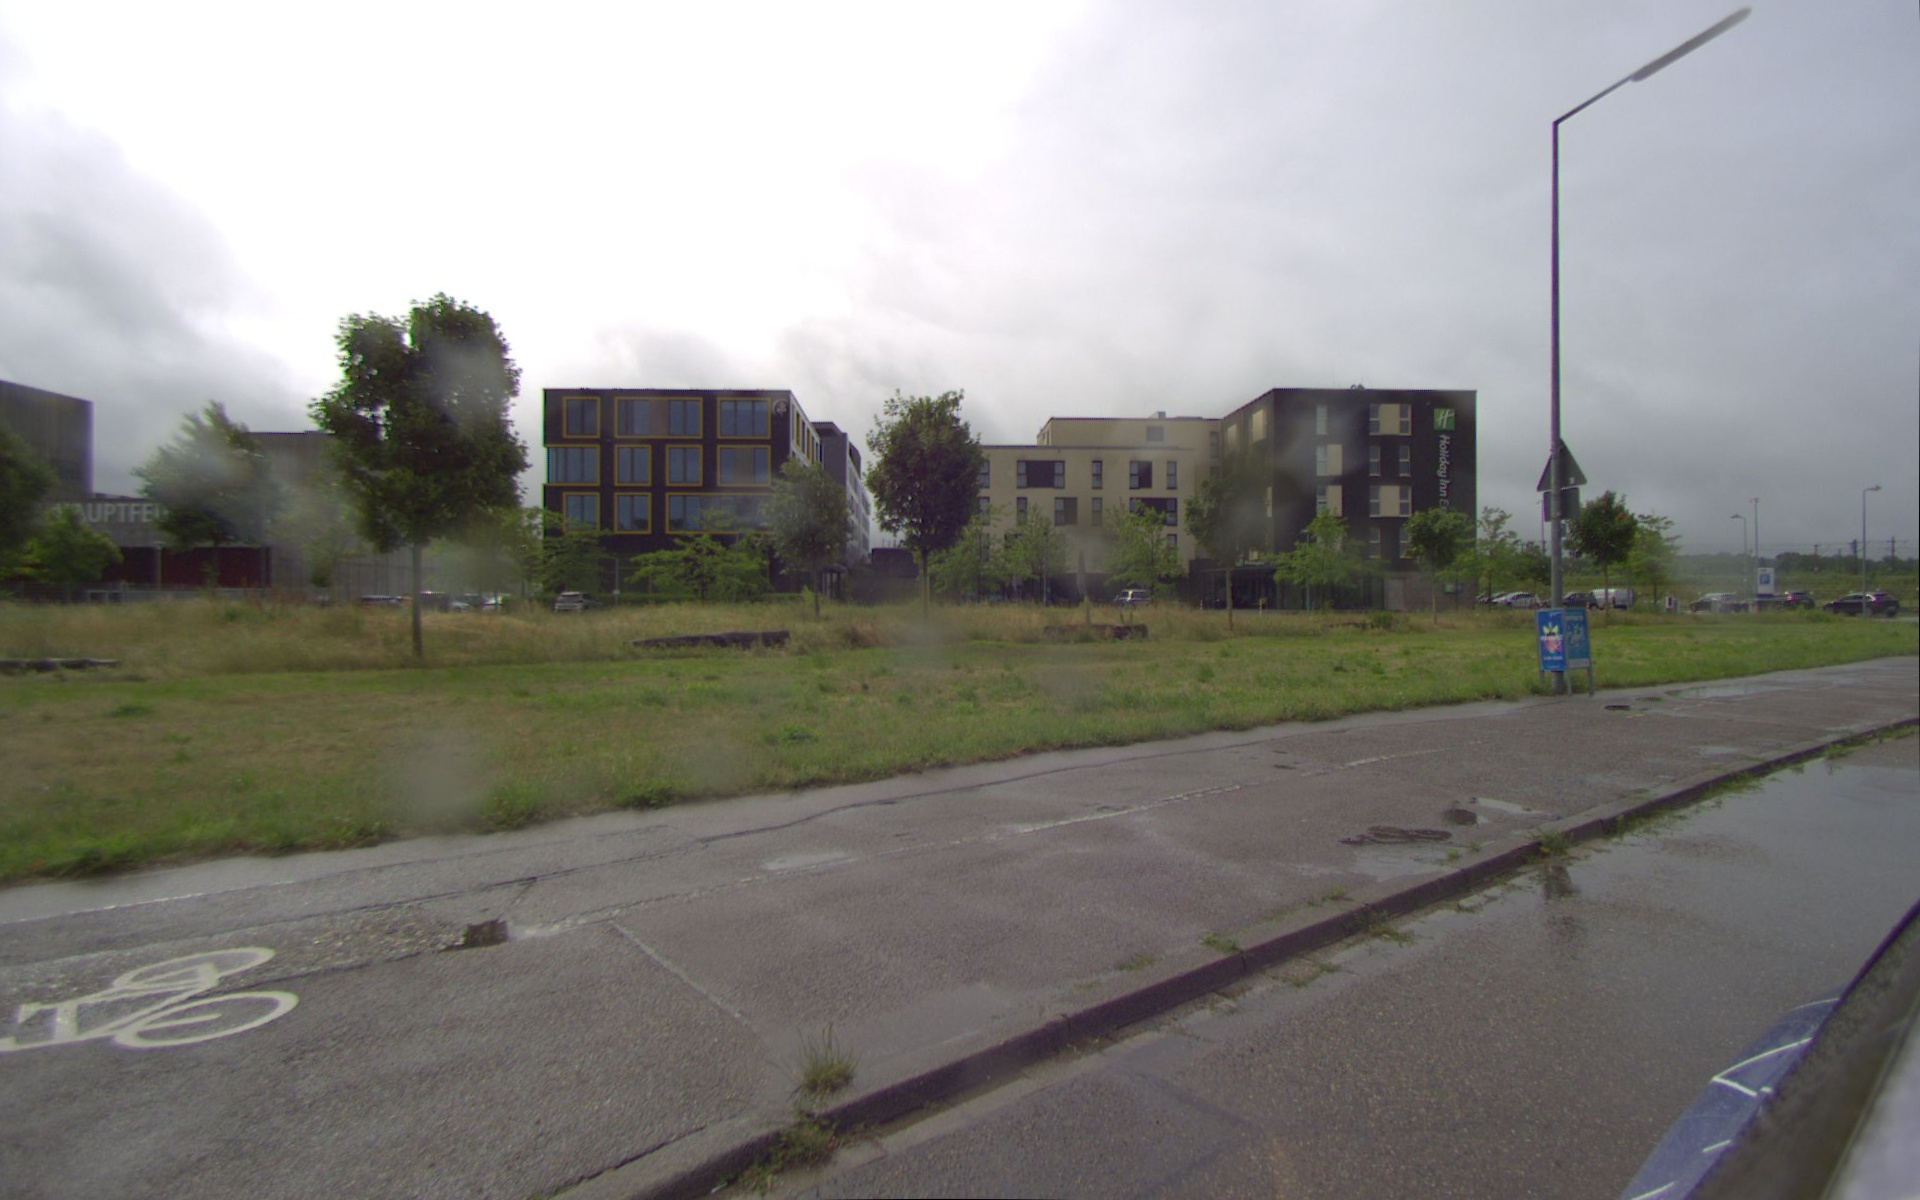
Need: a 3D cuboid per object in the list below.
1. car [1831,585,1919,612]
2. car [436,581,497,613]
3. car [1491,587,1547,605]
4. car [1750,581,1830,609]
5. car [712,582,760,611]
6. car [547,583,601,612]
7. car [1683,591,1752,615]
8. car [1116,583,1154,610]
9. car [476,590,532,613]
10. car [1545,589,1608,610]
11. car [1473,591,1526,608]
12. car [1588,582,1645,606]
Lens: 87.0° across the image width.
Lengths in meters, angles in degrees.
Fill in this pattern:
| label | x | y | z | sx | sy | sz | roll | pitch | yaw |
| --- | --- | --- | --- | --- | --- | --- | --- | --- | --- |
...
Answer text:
| label | x | y | z | sx | sy | sz | roll | pitch | yaw |
| --- | --- | --- | --- | --- | --- | --- | --- | --- | --- |
| car | 59.310 | -0.119 | 65.548 | 1.960 | 1.638 | 4.005 | -3 | 1 | -7 |
| car | -29.550 | -0.201 | 60.713 | 1.773 | 1.794 | 4.001 | 0 | 1 | -1 |
| car | 47.464 | -0.327 | 85.958 | 3.732 | 1.414 | 1.769 | 0 | -3 | -4 |
| car | 58.581 | -0.312 | 71.521 | 1.959 | 1.750 | 4.003 | 0 | -3 | -7 |
| car | -13.848 | -0.233 | 62.864 | 1.962 | 1.784 | 4.557 | 0 | 0 | 0 |
| car | -23.582 | -0.163 | 61.987 | 1.736 | 1.742 | 3.999 | 0 | 0 | 1 |
| car | 57.880 | 0.285 | 77.421 | 1.959 | 1.663 | 4.003 | 0 | -3 | -7 |
| car | 10.920 | -0.258 | 63.411 | 1.635 | 1.577 | 4.219 | 0 | 1 | 0 |
| car | -33.579 | 0.085 | 74.686 | 1.962 | 1.612 | 4.788 | 0 | 1 | 0 |
| car | 47.820 | -0.036 | 78.510 | 3.766 | 1.548 | 1.786 | 0 | -3 | -4 |
| car | 47.182 | -0.038 | 88.548 | 3.707 | 1.414 | 1.644 | -1 | -2 | -3 |
| car | 57.555 | -0.509 | 88.878 | 1.961 | 1.796 | 4.336 | 0 | -5 | -2 |
